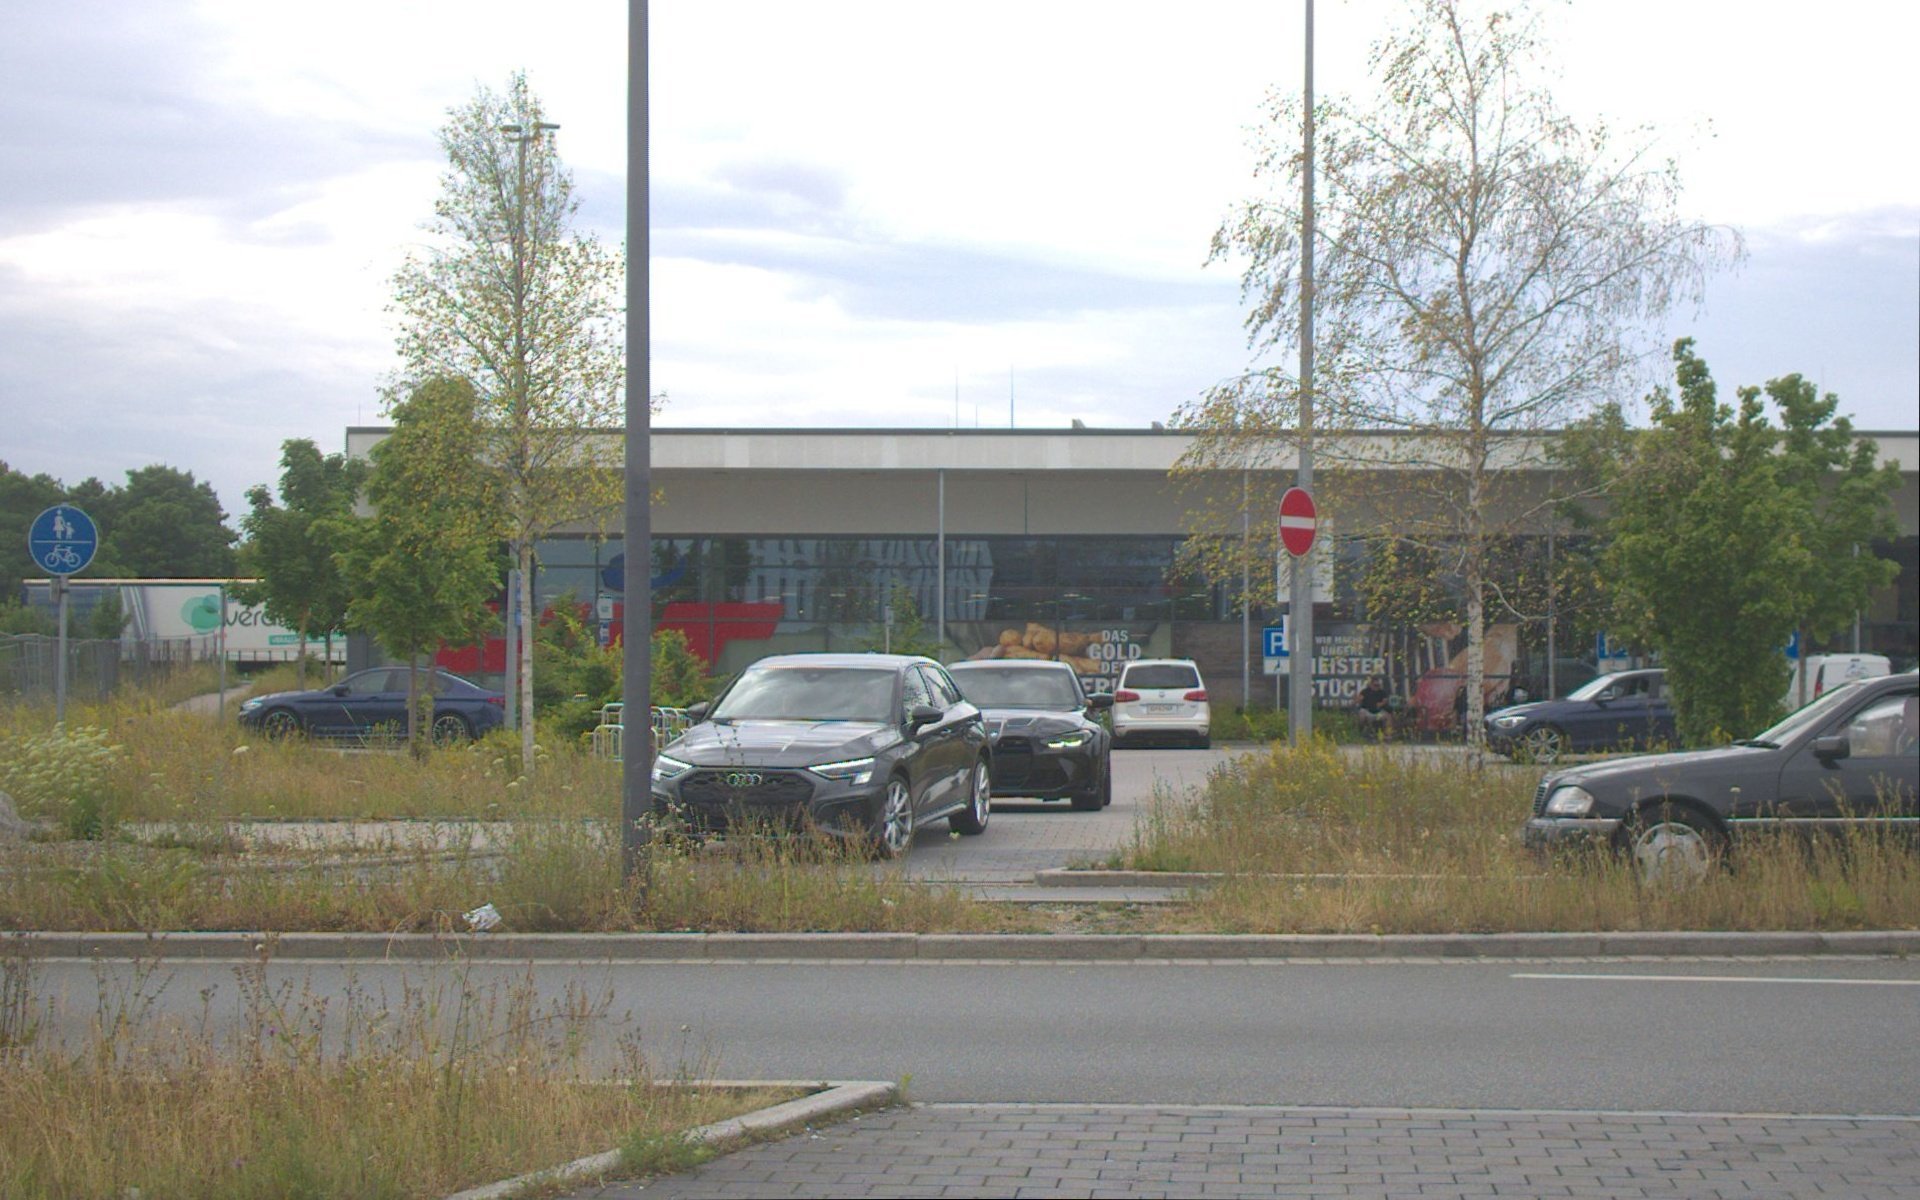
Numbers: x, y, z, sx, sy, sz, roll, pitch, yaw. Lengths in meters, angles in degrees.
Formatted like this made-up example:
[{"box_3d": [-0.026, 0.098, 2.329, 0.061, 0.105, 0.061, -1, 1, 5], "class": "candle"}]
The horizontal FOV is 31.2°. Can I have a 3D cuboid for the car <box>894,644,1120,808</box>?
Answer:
[{"box_3d": [0.518, 1.171, 32.672, 1.780, 1.441, 4.608, 0, -1, 5], "class": "car"}]

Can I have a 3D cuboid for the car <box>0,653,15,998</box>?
[{"box_3d": [-5.912, 0.940, 13.794, 3.803, 1.456, 1.801, 0, -1, -4], "class": "car"}]

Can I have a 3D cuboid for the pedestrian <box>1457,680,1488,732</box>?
[{"box_3d": [11.121, 2.298, 74.659, 0.576, 1.120, 0.562, 0, -1, -2], "class": "pedestrian"}]

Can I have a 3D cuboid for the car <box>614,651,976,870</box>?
[{"box_3d": [-1.121, 1.119, 25.552, 1.792, 1.462, 4.318, 0, -1, 10], "class": "car"}]

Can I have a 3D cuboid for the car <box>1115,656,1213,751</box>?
[{"box_3d": [3.948, 1.956, 66.033, 1.824, 1.694, 4.233, 0, 0, 4], "class": "car"}]

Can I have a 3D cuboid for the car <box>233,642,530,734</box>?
[{"box_3d": [-10.279, 1.571, 61.367, 5.007, 1.552, 2.000, 1, -2, -2], "class": "car"}]

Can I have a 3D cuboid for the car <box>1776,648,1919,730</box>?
[{"box_3d": [17.061, 1.684, 66.178, 1.994, 1.503, 3.999, 1, -1, 4], "class": "car"}]

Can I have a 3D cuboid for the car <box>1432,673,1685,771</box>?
[{"box_3d": [9.159, 1.857, 52.761, 3.607, 1.449, 1.668, 0, -1, 1], "class": "car"}]

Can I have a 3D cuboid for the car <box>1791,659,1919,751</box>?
[{"box_3d": [15.578, 1.698, 55.895, 3.747, 1.449, 1.667, 0, -1, 2], "class": "car"}]

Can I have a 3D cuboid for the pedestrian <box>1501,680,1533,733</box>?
[{"box_3d": [11.931, 2.283, 73.687, 0.576, 1.120, 0.562, 0, -1, -2], "class": "pedestrian"}]

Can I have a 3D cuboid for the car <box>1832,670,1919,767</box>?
[{"box_3d": [15.440, 1.813, 52.680, 3.747, 1.449, 1.667, 0, -1, 2], "class": "car"}]

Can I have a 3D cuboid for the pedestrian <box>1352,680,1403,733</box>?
[{"box_3d": [9.139, 2.328, 75.319, 0.970, 1.150, 1.133, 0, -1, 0], "class": "pedestrian"}]

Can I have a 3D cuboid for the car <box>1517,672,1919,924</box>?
[{"box_3d": [5.483, 1.125, 19.901, 4.358, 1.391, 1.790, 0, -2, 6], "class": "car"}]
